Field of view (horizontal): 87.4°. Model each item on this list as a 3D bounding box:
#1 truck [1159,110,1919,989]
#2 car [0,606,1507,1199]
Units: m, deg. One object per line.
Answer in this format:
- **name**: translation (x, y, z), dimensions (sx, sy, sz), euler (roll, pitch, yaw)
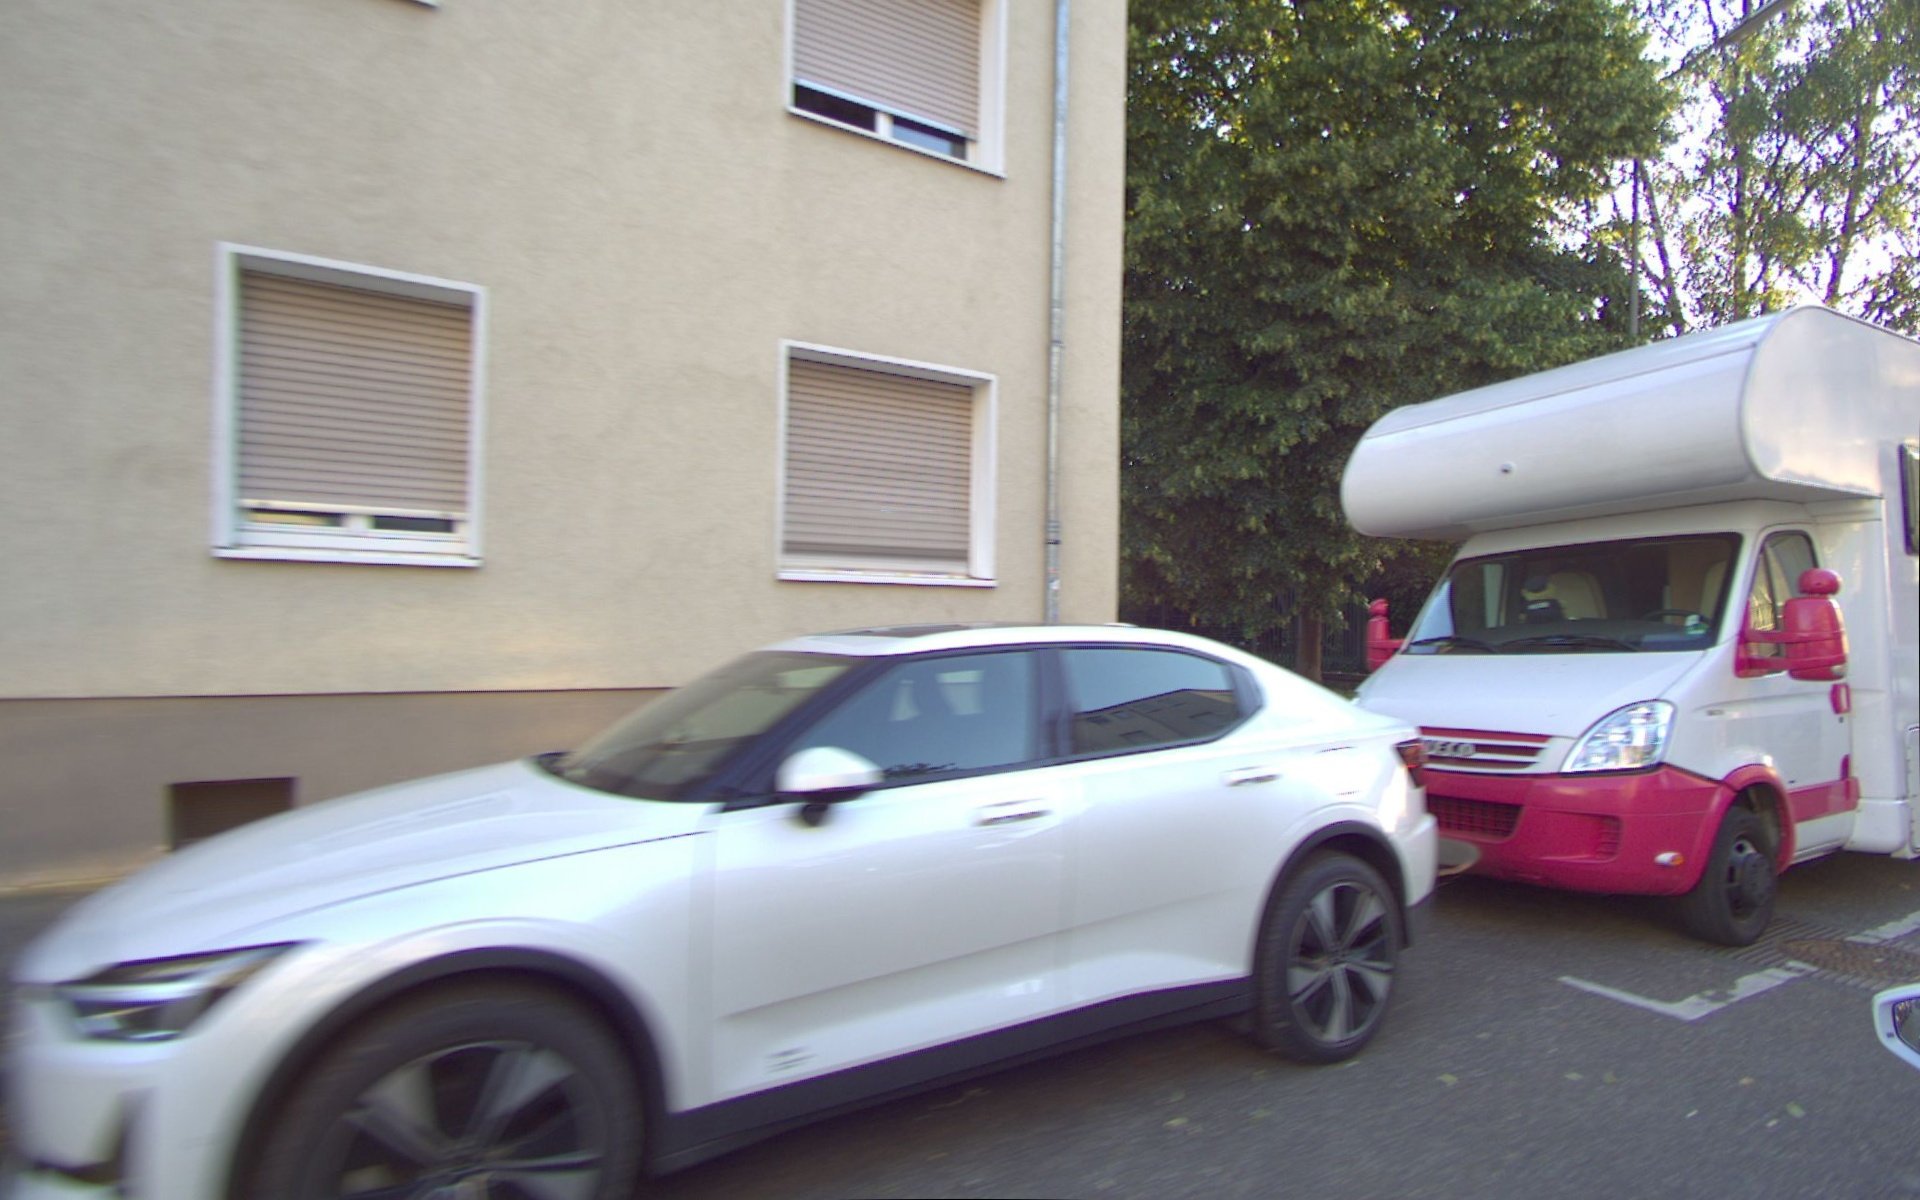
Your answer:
- **truck**: translation (5.264, -0.082, 6.964), dimensions (7.923, 3.397, 2.514), euler (1, -4, -30)
- **car**: translation (-0.500, 0.835, 3.390), dimensions (4.852, 1.496, 1.898), euler (1, -3, -31)
